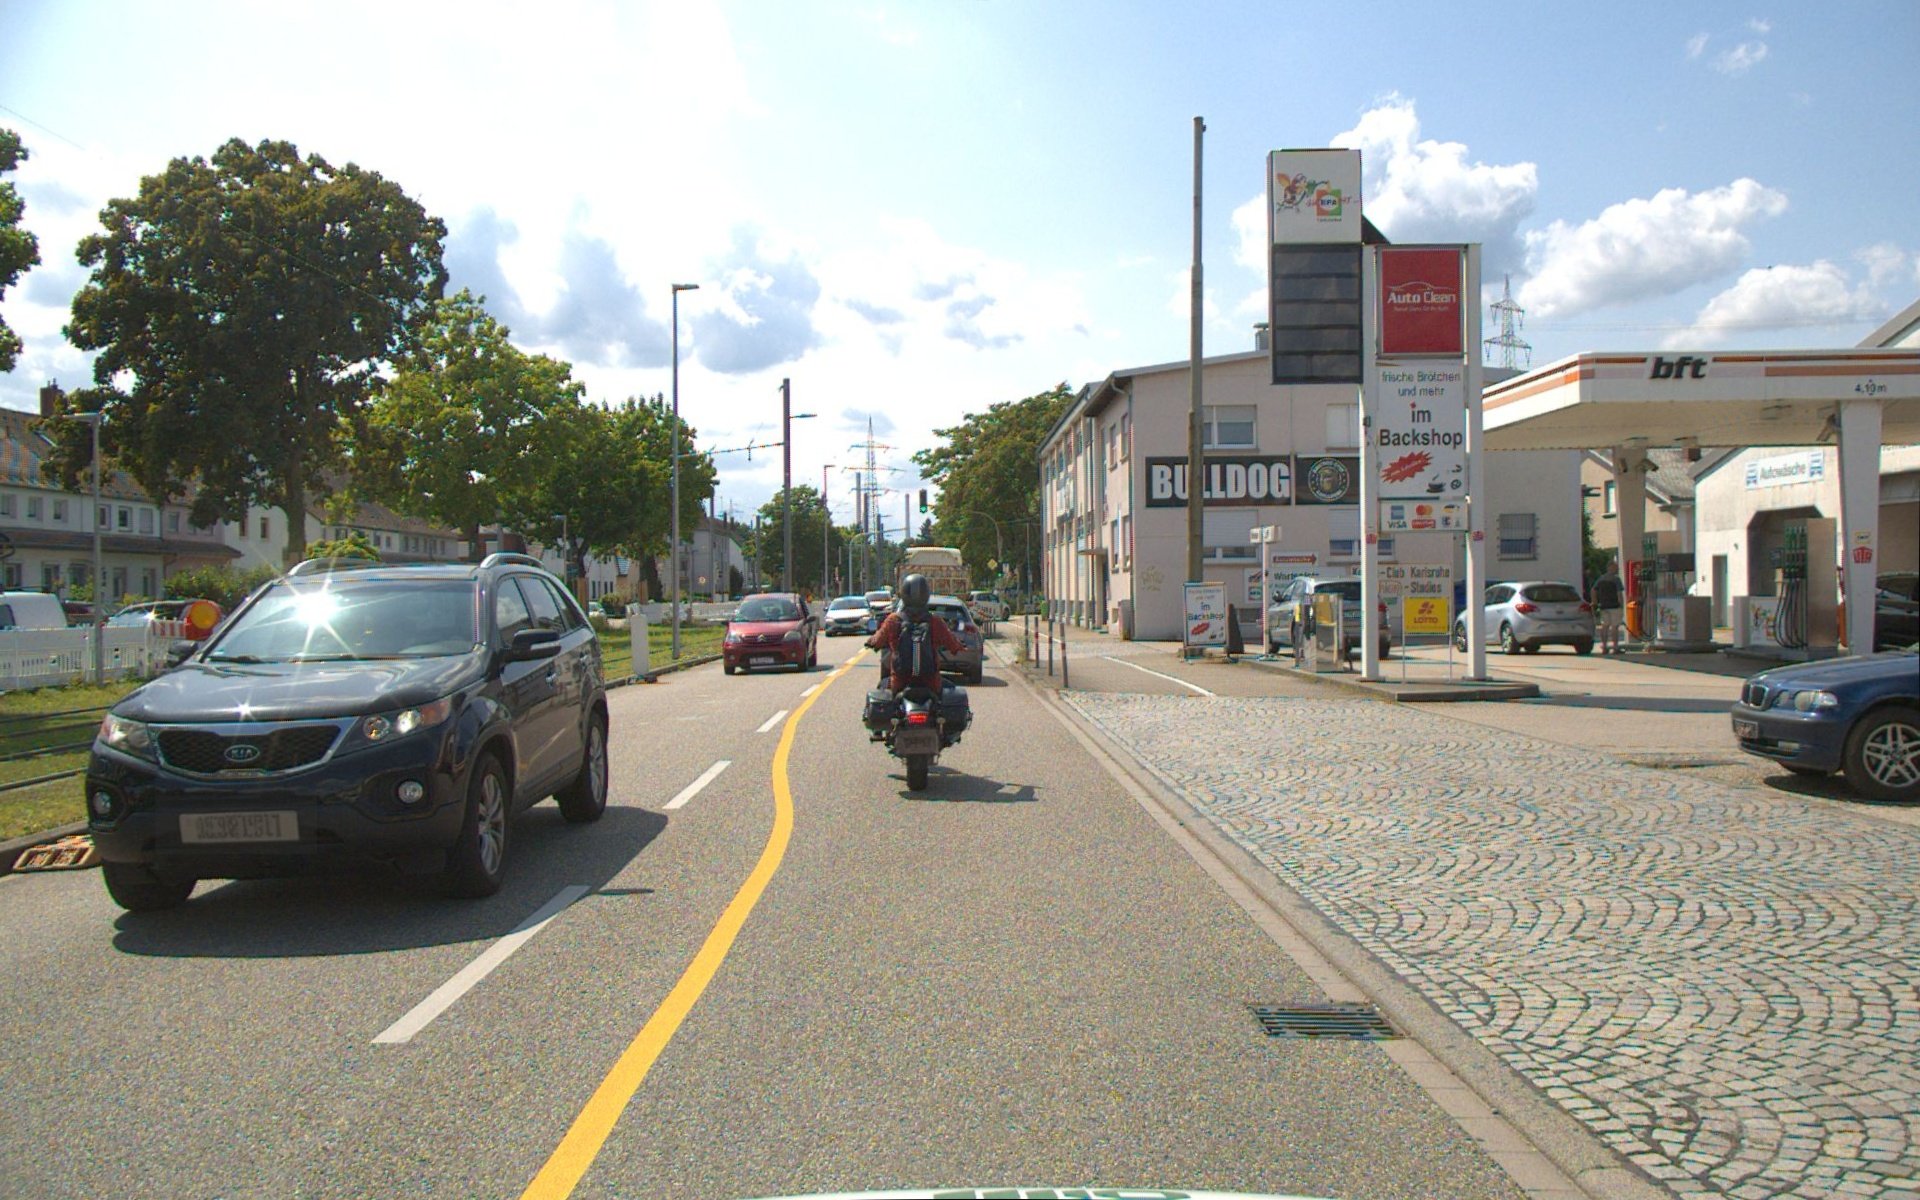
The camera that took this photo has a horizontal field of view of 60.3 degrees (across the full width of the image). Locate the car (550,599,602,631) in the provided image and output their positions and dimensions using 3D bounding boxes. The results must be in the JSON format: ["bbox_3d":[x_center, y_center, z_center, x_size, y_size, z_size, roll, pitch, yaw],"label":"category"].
[{"bbox_3d":[-17.003,0.669,73.331,1.491,1.378,3.620,1,0,-1],"label":"car"}]

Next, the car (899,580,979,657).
[{"bbox_3d":[-0.528,0.415,41.716,1.862,1.742,4.719,-1,1,-1],"label":"car"}]

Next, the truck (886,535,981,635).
[{"bbox_3d":[-0.818,-0.457,57.790,2.906,3.229,7.765,1,0,2],"label":"truck"}]

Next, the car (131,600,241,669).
[{"bbox_3d":[-16.246,0.703,34.798,1.050,1.371,2.449,-2,0,3],"label":"car"}]

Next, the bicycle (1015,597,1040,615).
[{"bbox_3d":[4.641,0.436,114.025,1.672,1.192,0.438,1,-1,4],"label":"bicycle"}]

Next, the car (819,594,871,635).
[{"bbox_3d":[-4.449,0.557,64.441,1.784,1.470,4.482,-2,0,-2],"label":"car"}]

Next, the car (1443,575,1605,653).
[{"bbox_3d":[11.856,0.303,35.068,1.658,1.496,4.420,-2,0,-4],"label":"car"}]

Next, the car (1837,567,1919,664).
[{"bbox_3d":[16.591,0.261,27.449,1.648,1.546,4.492,-1,2,-1],"label":"car"}]

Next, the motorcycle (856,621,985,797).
[{"bbox_3d":[-0.303,0.810,13.294,0.923,1.221,2.472,1,0,-1],"label":"motorcycle"}]

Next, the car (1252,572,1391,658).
[{"bbox_3d":[7.399,0.286,34.309,1.905,1.653,4.616,0,0,0],"label":"car"}]

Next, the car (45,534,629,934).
[{"bbox_3d":[-3.204,0.584,9.509,1.760,1.719,4.220,-2,0,-1],"label":"car"}]

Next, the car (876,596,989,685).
[{"bbox_3d":[-0.550,0.668,29.567,1.698,1.428,4.082,1,0,-5],"label":"car"}]

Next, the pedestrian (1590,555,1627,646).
[{"bbox_3d":[13.115,0.018,33.442,0.487,1.807,0.577,1,-1,-3],"label":"pedestrian"}]

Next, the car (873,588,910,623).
[{"bbox_3d":[-3.545,0.285,86.537,1.787,1.695,4.461,-2,0,-1],"label":"car"}]

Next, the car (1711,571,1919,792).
[{"bbox_3d":[7.543,0.552,11.443,3.966,1.432,1.648,0,-1,7],"label":"car"}]

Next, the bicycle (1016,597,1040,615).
[{"bbox_3d":[4.745,0.433,115.448,1.672,1.192,0.438,1,-1,4],"label":"bicycle"}]

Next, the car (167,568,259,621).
[{"bbox_3d":[-30.331,-0.205,67.259,1.953,2.049,3.999,1,-1,-1],"label":"car"}]

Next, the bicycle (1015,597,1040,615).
[{"bbox_3d":[4.688,0.404,114.904,1.672,1.192,0.438,1,-1,4],"label":"bicycle"}]

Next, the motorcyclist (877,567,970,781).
[{"bbox_3d":[-0.285,0.569,13.024,0.684,1.632,0.692,1,-1,-1],"label":"motorcyclist"}]

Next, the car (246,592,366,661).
[{"bbox_3d":[-16.991,0.677,43.165,1.589,1.680,3.898,-2,0,-1],"label":"car"}]

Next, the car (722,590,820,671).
[{"bbox_3d":[-3.703,0.585,32.883,1.546,1.495,3.719,-1,0,-1],"label":"car"}]

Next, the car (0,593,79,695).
[{"bbox_3d":[-16.293,0.738,27.078,1.619,1.654,4.000,-2,0,-1],"label":"car"}]

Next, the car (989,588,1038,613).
[{"bbox_3d":[4.335,0.018,134.381,1.773,1.959,3.972,0,-1,44],"label":"car"}]
